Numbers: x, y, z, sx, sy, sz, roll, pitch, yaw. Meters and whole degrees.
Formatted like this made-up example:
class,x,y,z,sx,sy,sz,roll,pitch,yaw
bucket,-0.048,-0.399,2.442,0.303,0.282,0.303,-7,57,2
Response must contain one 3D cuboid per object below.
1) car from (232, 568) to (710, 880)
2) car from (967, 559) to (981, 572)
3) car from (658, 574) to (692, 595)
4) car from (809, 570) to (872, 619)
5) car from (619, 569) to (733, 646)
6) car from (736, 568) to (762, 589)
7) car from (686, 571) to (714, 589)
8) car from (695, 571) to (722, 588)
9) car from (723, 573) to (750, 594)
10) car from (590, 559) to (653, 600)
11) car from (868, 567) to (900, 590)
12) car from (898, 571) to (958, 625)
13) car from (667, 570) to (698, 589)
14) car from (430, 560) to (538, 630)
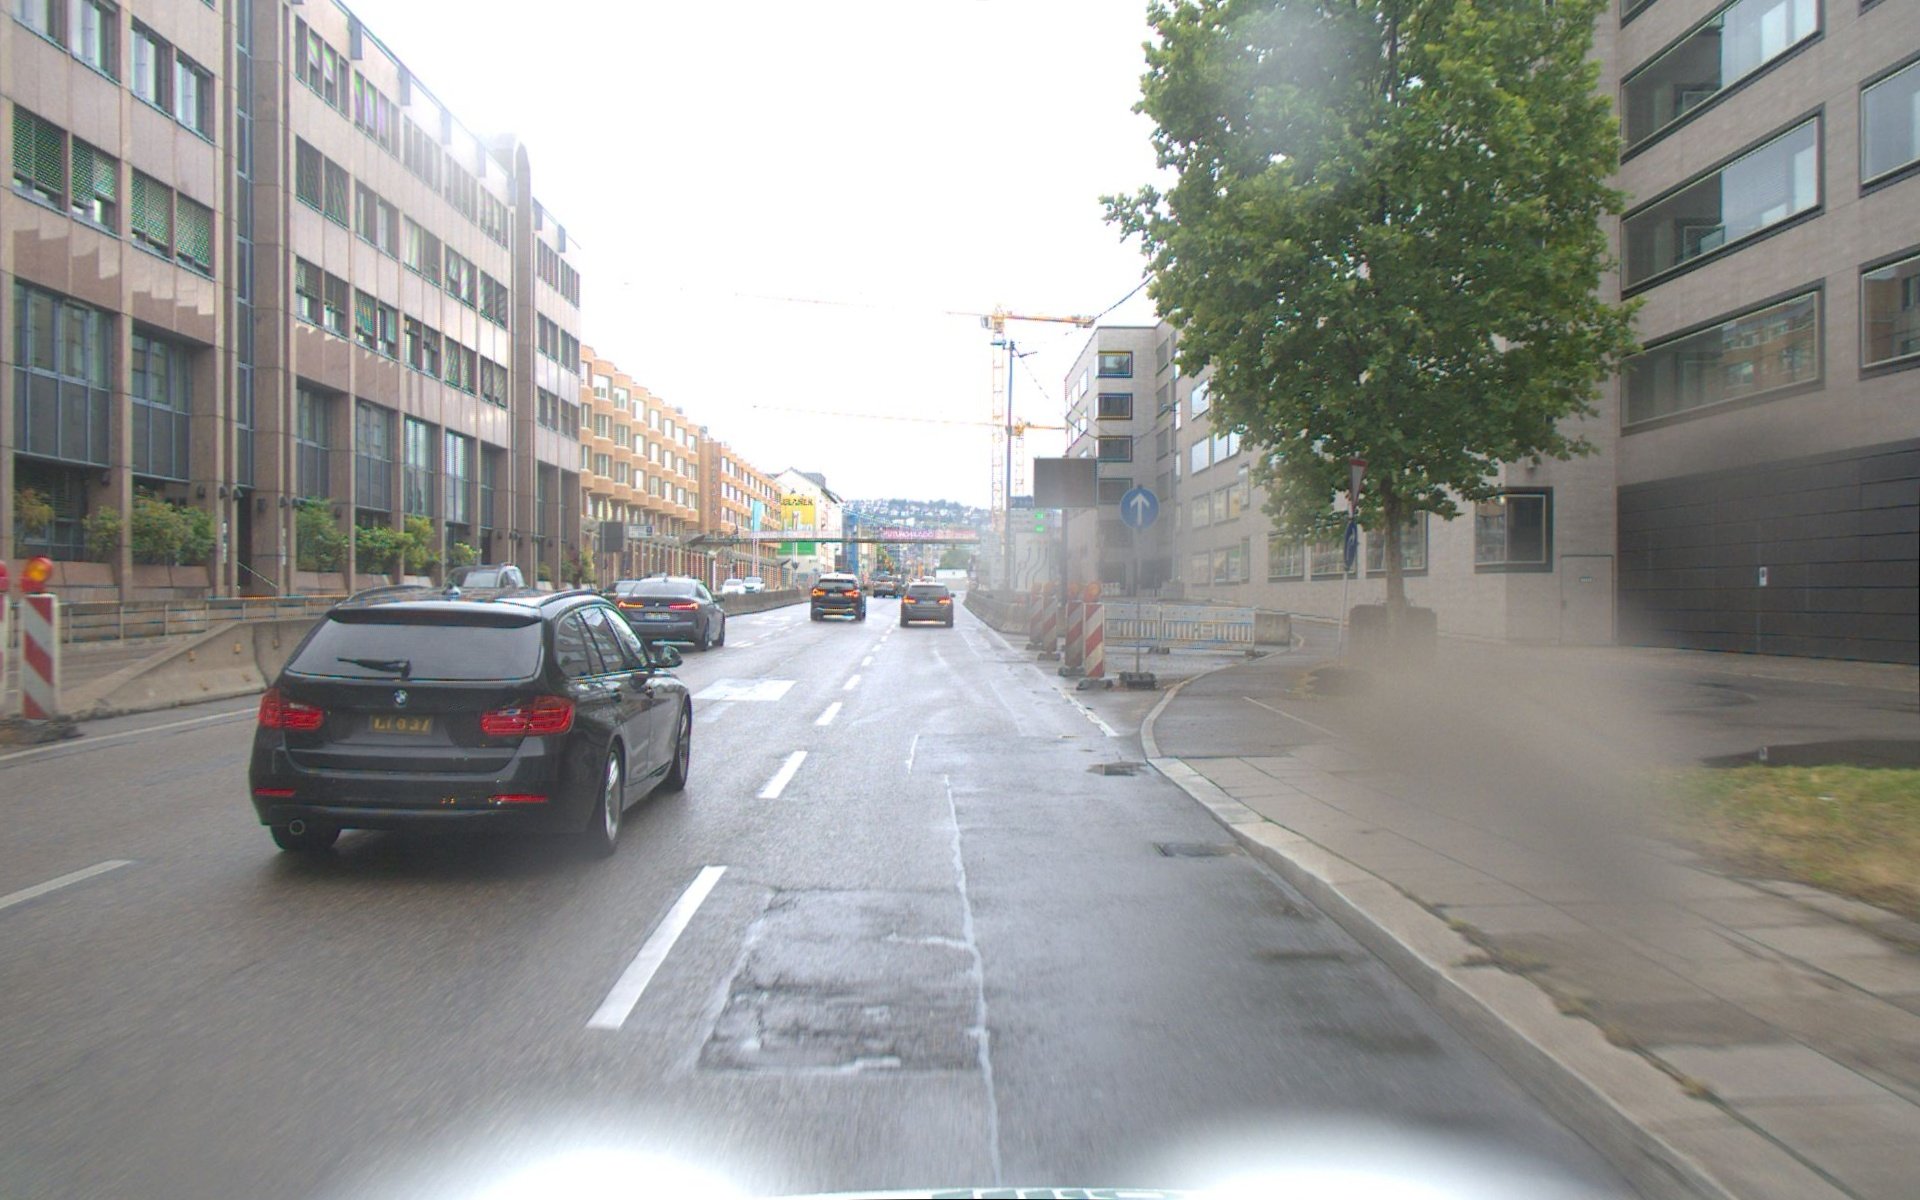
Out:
class,x,y,z,sx,sy,sz,roll,pitch,yaw
car,-2.660,0.545,10.137,1.755,1.450,4.611,0,1,-3
car,2.063,-4.920,236.122,1.860,1.723,4.001,-1,1,2
car,-22.939,-1.232,133.420,1.953,1.648,4.762,-1,1,-1
car,-4.363,-0.212,60.734,1.860,1.723,4.001,-1,1,2
car,-5.773,0.124,34.069,1.755,1.451,4.382,-1,1,-3
car,-18.283,-1.860,143.525,1.783,1.647,4.190,-1,2,-2
car,-24.647,-1.932,157.014,1.953,1.648,4.317,-1,1,-1
car,-24.645,-1.998,162.284,1.953,1.648,4.690,-1,1,-1
car,-16.482,-1.230,122.145,1.570,1.467,3.657,-1,2,-1
car,-13.675,-0.822,67.035,1.823,1.560,4.229,-1,1,-2
car,-5.727,-1.607,124.421,1.860,1.723,4.003,-1,1,5
car,-1.049,-0.104,55.773,1.861,1.723,4.001,-1,1,1
car,-24.365,-1.789,145.270,1.953,1.648,4.317,-1,1,-1
car,-12.933,-0.162,45.183,1.686,1.801,4.425,-1,1,-1
